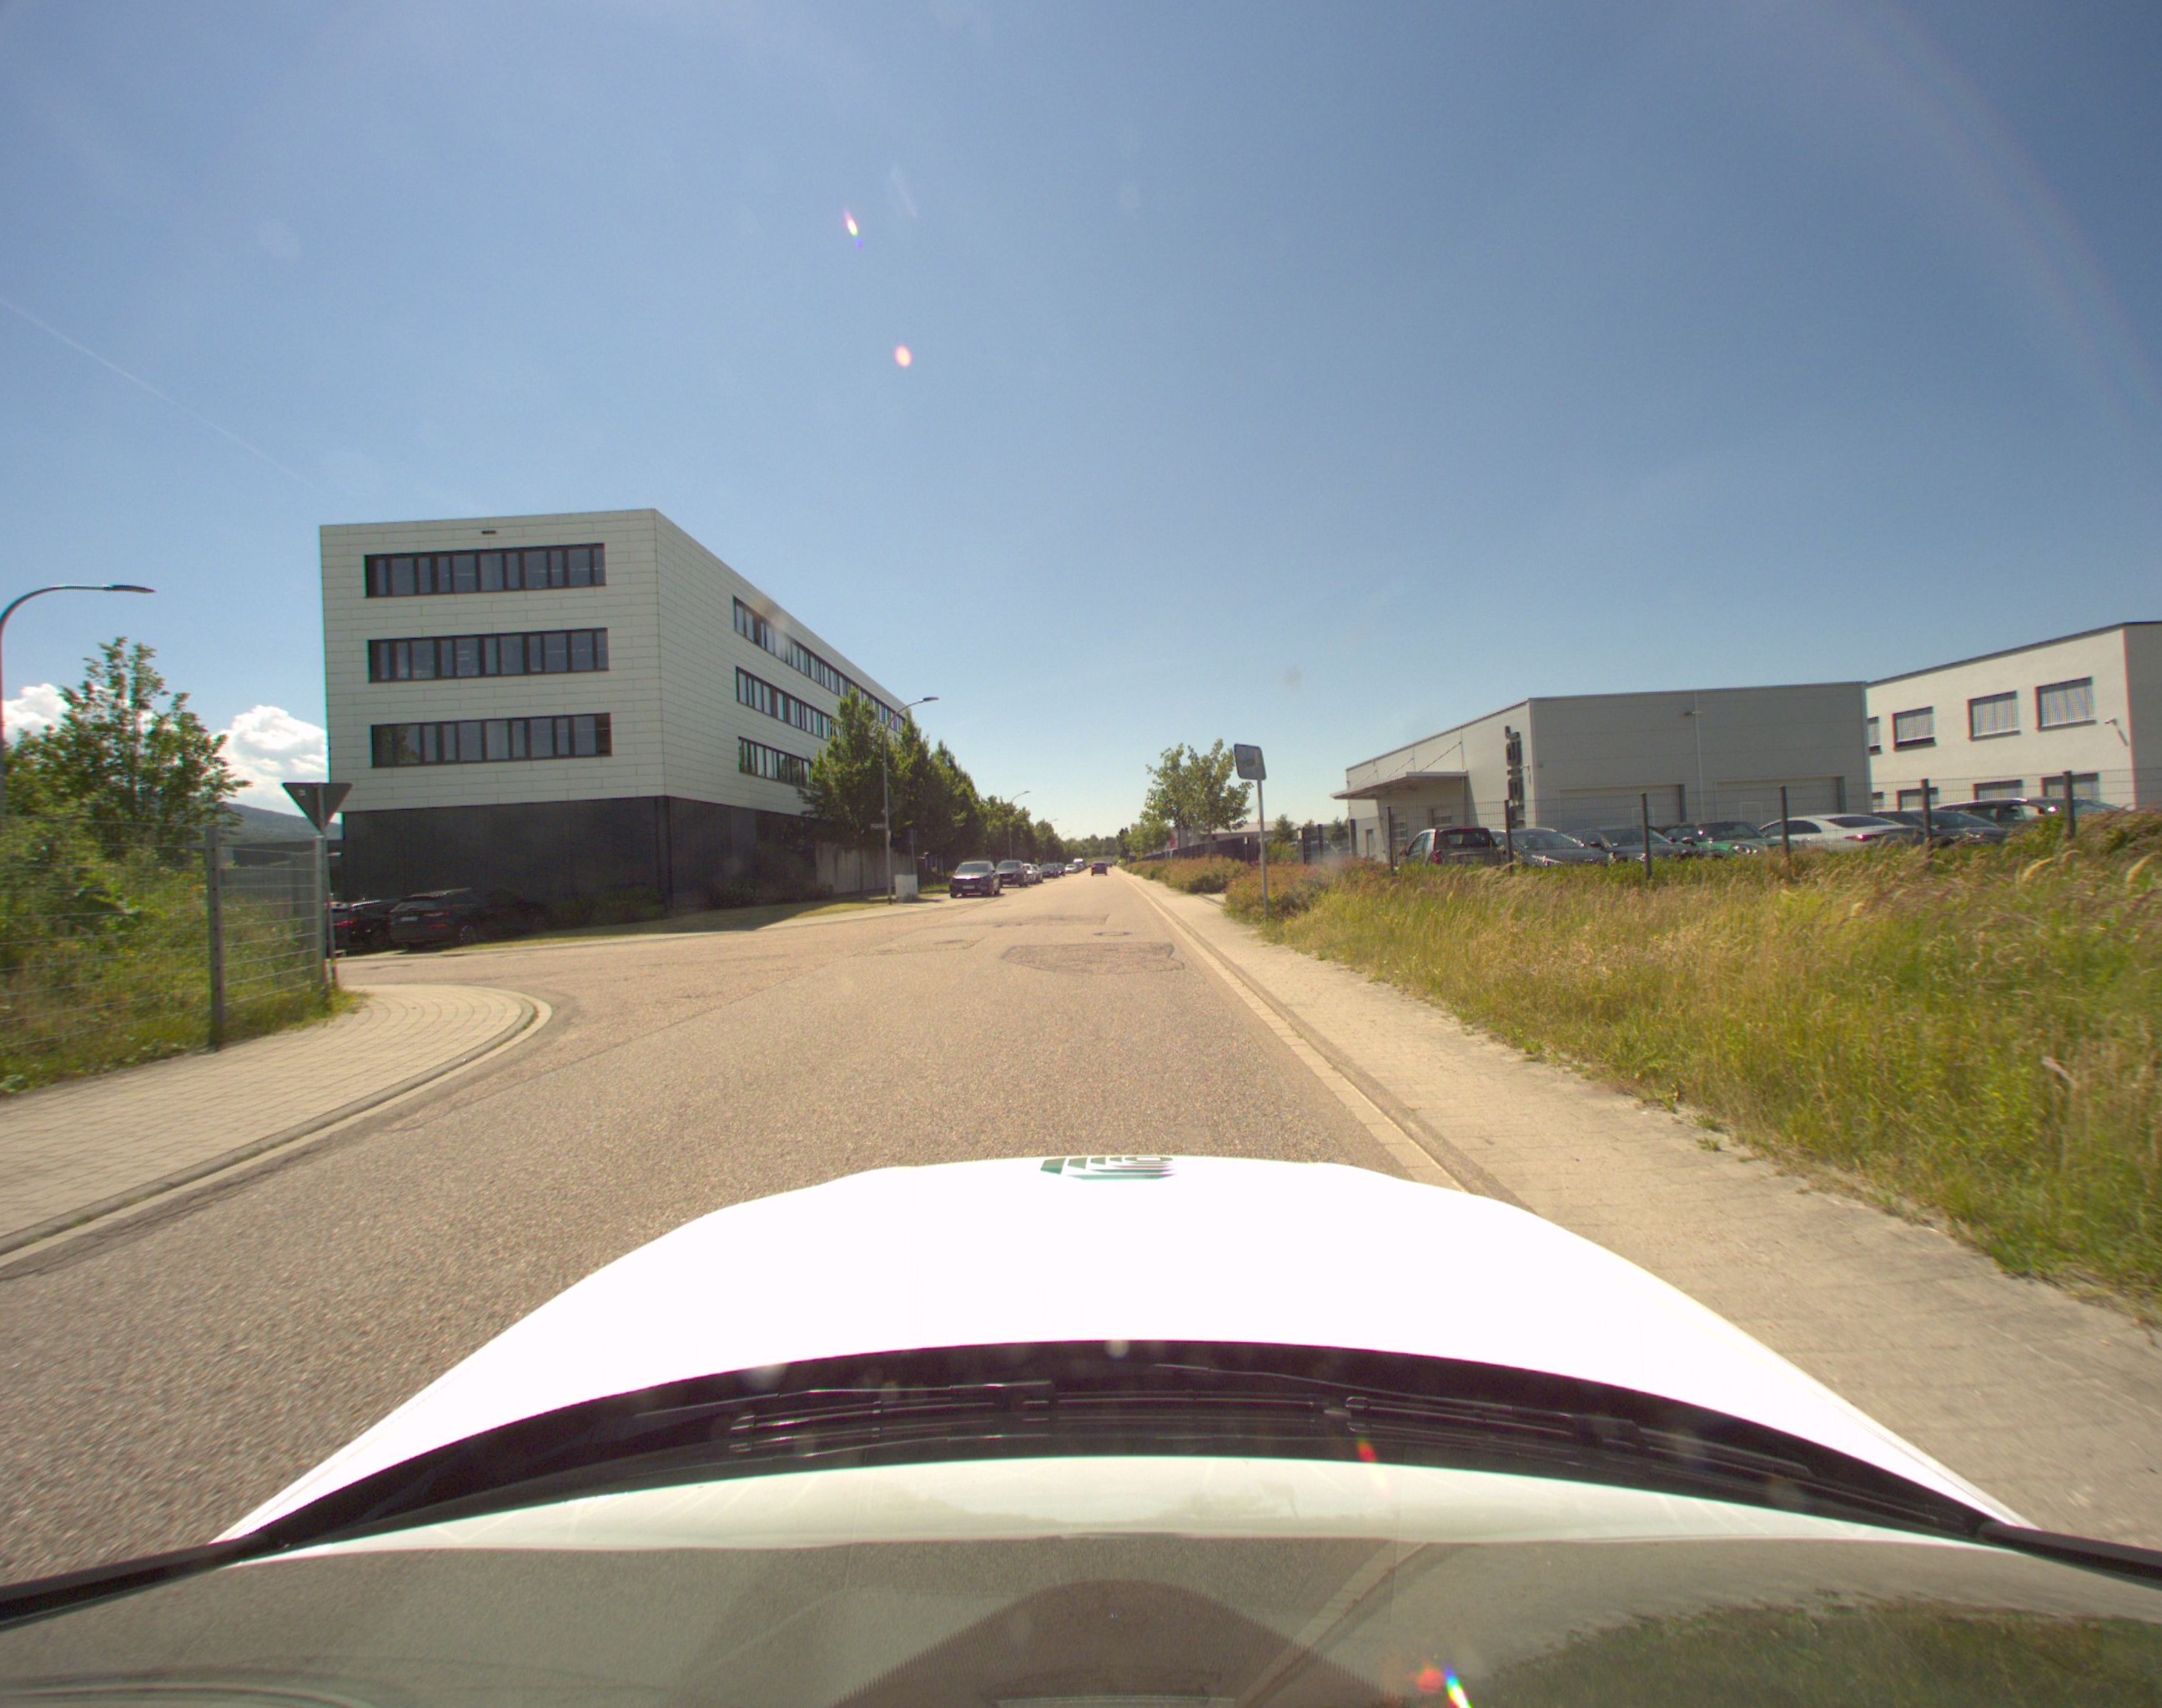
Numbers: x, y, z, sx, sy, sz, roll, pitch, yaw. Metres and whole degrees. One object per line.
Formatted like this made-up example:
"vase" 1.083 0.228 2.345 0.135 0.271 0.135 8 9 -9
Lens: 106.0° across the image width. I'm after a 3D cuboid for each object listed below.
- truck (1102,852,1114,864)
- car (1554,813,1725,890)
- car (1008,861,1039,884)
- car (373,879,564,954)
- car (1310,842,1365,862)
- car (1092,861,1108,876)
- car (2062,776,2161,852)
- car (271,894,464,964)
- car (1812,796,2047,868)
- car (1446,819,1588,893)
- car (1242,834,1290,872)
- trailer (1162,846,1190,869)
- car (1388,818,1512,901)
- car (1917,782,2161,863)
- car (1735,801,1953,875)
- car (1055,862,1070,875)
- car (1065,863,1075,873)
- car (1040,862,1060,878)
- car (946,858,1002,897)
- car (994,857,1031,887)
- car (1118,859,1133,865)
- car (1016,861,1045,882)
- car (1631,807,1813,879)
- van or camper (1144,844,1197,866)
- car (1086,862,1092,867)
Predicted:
"truck" 6.981 1.065 207.493 2.921 2.974 6.422 -1 -1 2
"car" 12.352 -0.031 18.269 1.509 1.496 3.332 -3 -1 0
"car" -4.022 1.268 57.552 1.764 1.431 4.202 -2 0 2
"car" -18.410 1.810 24.864 1.797 1.592 4.909 -3 3 4
"car" 21.562 -0.161 68.600 3.973 1.403 1.819 -4 -1 0
"car" 2.155 1.645 92.665 1.783 1.623 3.810 -1 -1 1
"car" 27.659 -1.052 20.150 1.742 1.847 4.126 -3 -1 0
"car" -21.299 2.166 24.595 1.797 1.447 4.260 -3 3 4
"car" 19.538 -0.435 19.019 1.509 1.430 3.784 -3 -1 1
"car" 10.060 0.068 19.064 1.509 1.496 3.332 -3 -1 0
"car" 11.027 -0.044 48.783 1.870 2.087 4.227 -4 -1 2
"trailer" 10.663 0.380 91.482 2.816 2.403 1.418 -4 -1 -3
"car" 7.912 0.126 17.675 1.461 1.574 2.662 -3 -1 2
"car" 22.292 -0.646 19.069 1.509 1.633 3.784 -3 -1 1
"car" 16.806 -0.300 18.202 1.509 1.397 3.540 -3 -1 0
"car" -2.342 1.854 102.960 1.765 1.611 4.247 -2 -1 0
"car" -1.798 2.310 135.217 1.715 1.476 3.856 -2 -1 -1
"car" -3.187 1.652 84.795 1.764 1.431 4.202 -2 0 2
"car" -4.806 1.025 37.155 1.764 1.588 4.482 -3 -1 2
"car" -4.185 1.074 50.399 1.764 1.623 4.584 -2 0 2
"car" 12.168 2.198 222.551 3.864 1.750 1.751 -1 -1 -1
"car" -3.826 1.334 62.292 1.764 1.431 3.941 -2 0 1
"car" 14.351 -0.204 18.461 1.452 1.412 3.332 -3 -1 0
"van or camper" 11.806 0.144 107.794 6.734 2.585 2.636 -3 -1 0
"car" 2.536 3.404 254.050 1.791 1.487 4.256 -2 0 3
